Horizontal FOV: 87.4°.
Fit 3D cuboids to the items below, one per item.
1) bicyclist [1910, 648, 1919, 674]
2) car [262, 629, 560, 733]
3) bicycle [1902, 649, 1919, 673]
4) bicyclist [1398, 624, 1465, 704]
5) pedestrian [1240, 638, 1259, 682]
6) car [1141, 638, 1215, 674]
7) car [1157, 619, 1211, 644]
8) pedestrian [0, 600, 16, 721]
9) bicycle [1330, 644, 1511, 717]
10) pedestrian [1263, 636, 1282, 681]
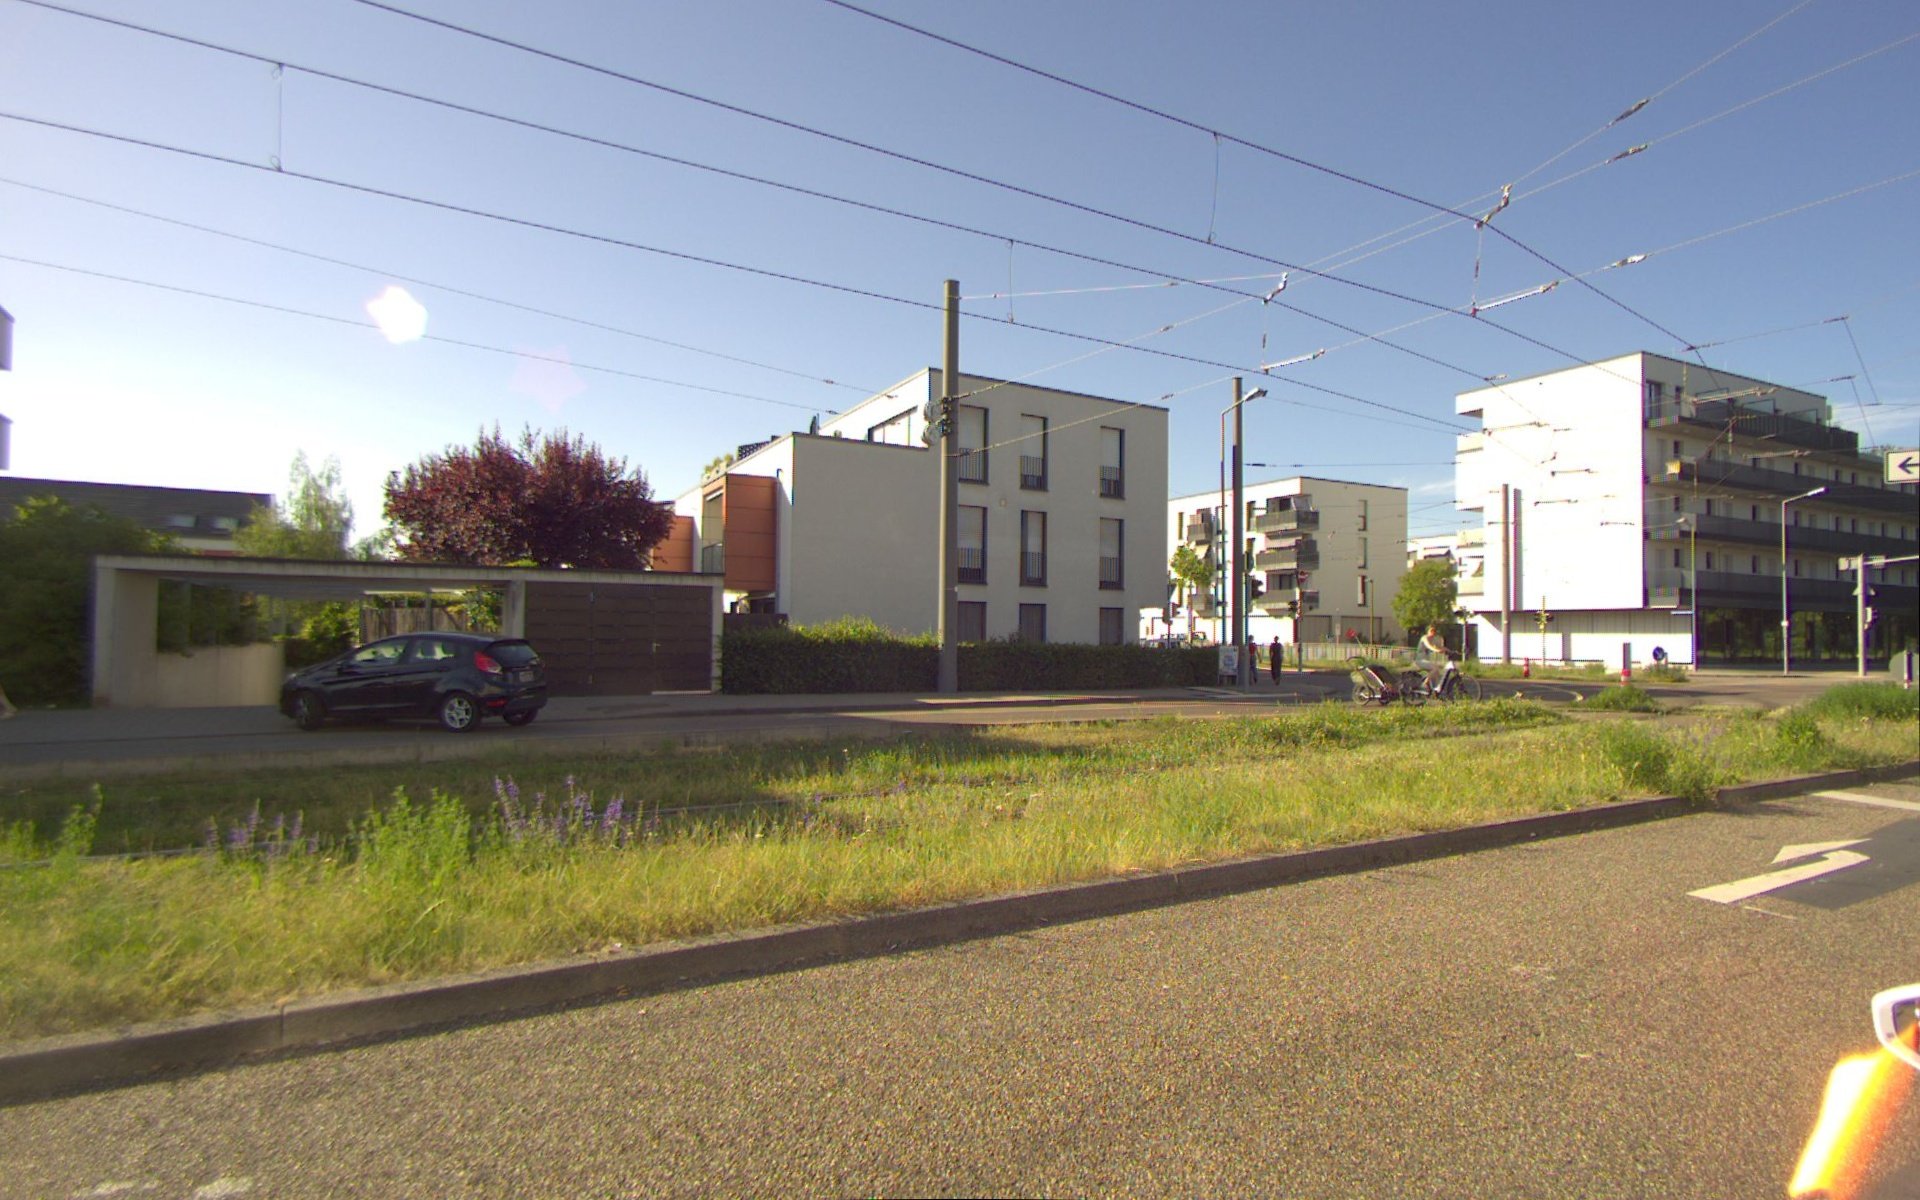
[{"bbox_3d":[46.955,2.975,48.829,0.729,1.252,0.842,1,0,-6],"label":"bicyclist"},{"bbox_3d":[-8.304,1.227,15.378,3.664,1.449,1.710,-1,-3,6],"label":"car"},{"bbox_3d":[47.082,2.962,48.808,1.800,1.099,0.969,1,0,-6],"label":"bicycle"},{"bbox_3d":[10.110,1.354,21.550,0.965,1.651,0.905,1,0,-31],"label":"bicyclist"},{"bbox_3d":[10.056,2.060,34.883,0.548,1.483,0.742,1,0,19],"label":"pedestrian"},{"bbox_3d":[10.420,2.680,48.202,1.574,1.674,3.475,1,-3,-30],"label":"car"},{"bbox_3d":[17.850,2.479,80.125,1.977,1.862,3.967,1,0,-31],"label":"car"},{"bbox_3d":[-14.491,0.883,14.585,0.897,1.771,0.813,1,0,-25],"label":"pedestrian"},{"bbox_3d":[9.912,1.694,21.891,0.988,1.190,3.664,1,1,-31],"label":"bicycle"},{"bbox_3d":[10.762,2.009,34.564,0.548,1.483,0.611,1,0,23],"label":"pedestrian"}]
